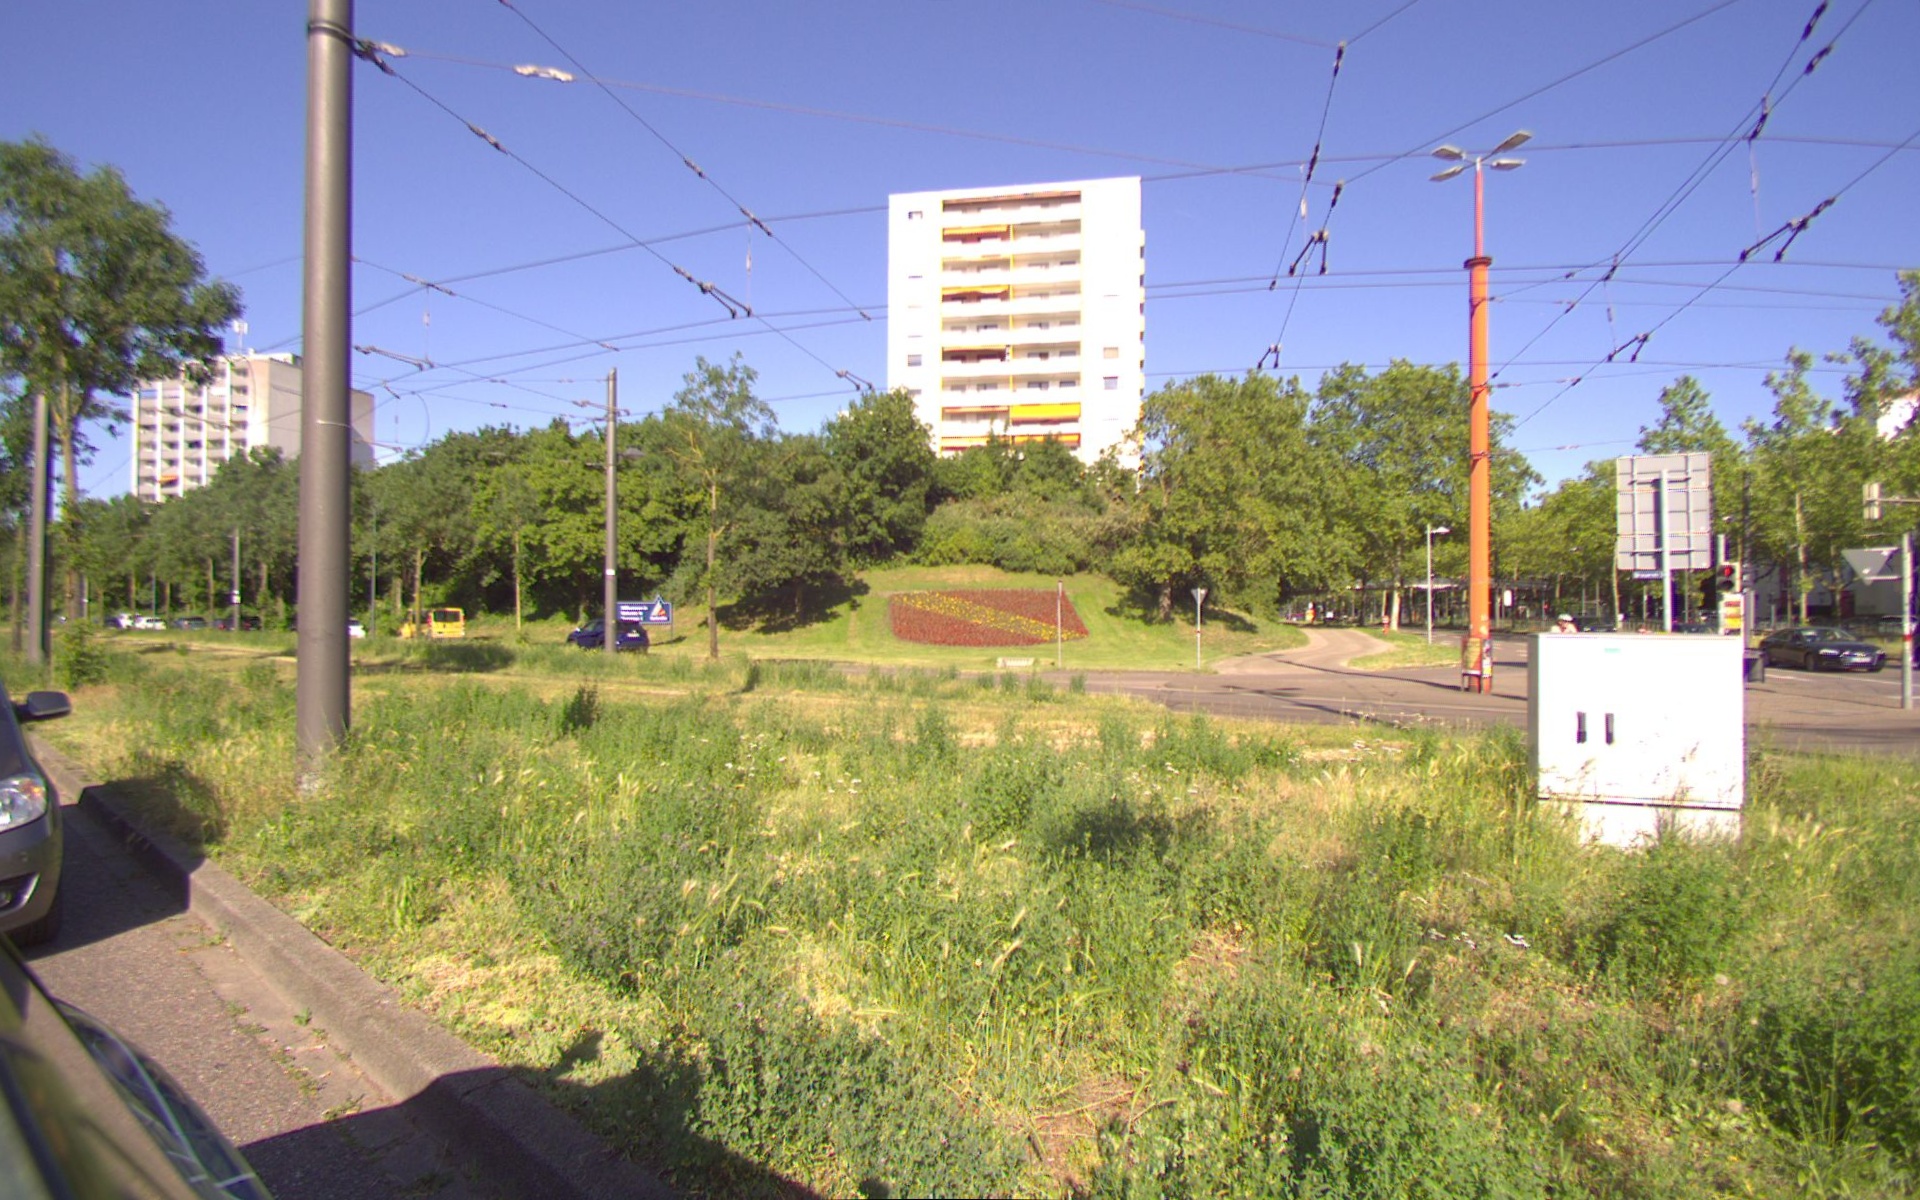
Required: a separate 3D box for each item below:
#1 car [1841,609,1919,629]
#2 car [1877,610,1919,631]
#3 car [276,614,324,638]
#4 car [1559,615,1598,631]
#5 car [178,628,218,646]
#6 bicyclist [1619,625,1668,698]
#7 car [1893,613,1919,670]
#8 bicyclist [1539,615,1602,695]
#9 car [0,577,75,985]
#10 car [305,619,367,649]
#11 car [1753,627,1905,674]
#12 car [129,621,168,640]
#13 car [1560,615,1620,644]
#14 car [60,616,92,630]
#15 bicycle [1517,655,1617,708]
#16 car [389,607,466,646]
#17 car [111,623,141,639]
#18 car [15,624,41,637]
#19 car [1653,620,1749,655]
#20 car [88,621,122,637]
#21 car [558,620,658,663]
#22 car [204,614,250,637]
[{"bbox_3d":[65.879,1.374,72.388,1.770,1.420,4.010,1,-1,-36],"label":"car"},{"bbox_3d":[64.891,1.396,68.406,1.770,1.420,4.010,1,-1,-36],"label":"car"},{"bbox_3d":[-42.404,1.672,64.974,1.767,1.519,4.243,2,-2,-45],"label":"car"},{"bbox_3d":[79.735,2.986,130.488,3.969,2.029,1.987,-1,-1,20],"label":"car"},{"bbox_3d":[-60.846,2.952,80.781,4.000,1.429,1.842,-1,-2,43],"label":"car"},{"bbox_3d":[13.370,1.191,19.795,0.435,1.391,0.631,0,-2,-20],"label":"bicyclist"},{"bbox_3d":[29.996,1.218,29.450,1.828,1.721,4.301,0,-2,4],"label":"car"},{"bbox_3d":[12.206,1.076,20.245,0.719,1.557,0.770,0,-2,-20],"label":"bicyclist"},{"bbox_3d":[-5.734,0.746,4.850,3.879,1.634,1.737,-1,-2,41],"label":"car"},{"bbox_3d":[-32.281,1.759,52.337,4.020,1.418,1.671,-2,-1,42],"label":"car"},{"bbox_3d":[27.335,1.535,32.026,1.747,1.360,4.345,-1,-1,12],"label":"car"},{"bbox_3d":[-63.517,2.344,79.186,4.000,1.429,1.842,-1,-2,43],"label":"car"},{"bbox_3d":[38.436,1.806,61.854,1.833,1.721,4.288,-1,-2,13],"label":"car"},{"bbox_3d":[-92.675,2.417,106.075,3.998,1.497,1.972,-1,-2,41],"label":"car"},{"bbox_3d":[12.121,1.604,20.260,0.673,0.968,1.650,0,-1,-20],"label":"bicycle"},{"bbox_3d":[-27.882,1.374,52.940,4.905,1.981,1.972,-1,-2,42],"label":"car"},{"bbox_3d":[-78.076,2.891,94.724,4.001,1.386,1.717,-1,-2,44],"label":"car"},{"bbox_3d":[-108.550,3.591,117.813,3.998,1.475,1.779,-1,-2,41],"label":"car"},{"bbox_3d":[30.079,1.493,41.230,1.750,1.360,4.339,-1,-1,16],"label":"car"},{"bbox_3d":[-75.412,2.517,89.201,4.229,1.371,1.801,-1,-2,43],"label":"car"},{"bbox_3d":[-13.936,1.614,39.966,4.104,1.586,1.973,-2,-1,41],"label":"car"},{"bbox_3d":[-48.019,1.693,66.252,4.311,1.427,1.774,-2,-1,44],"label":"car"}]
